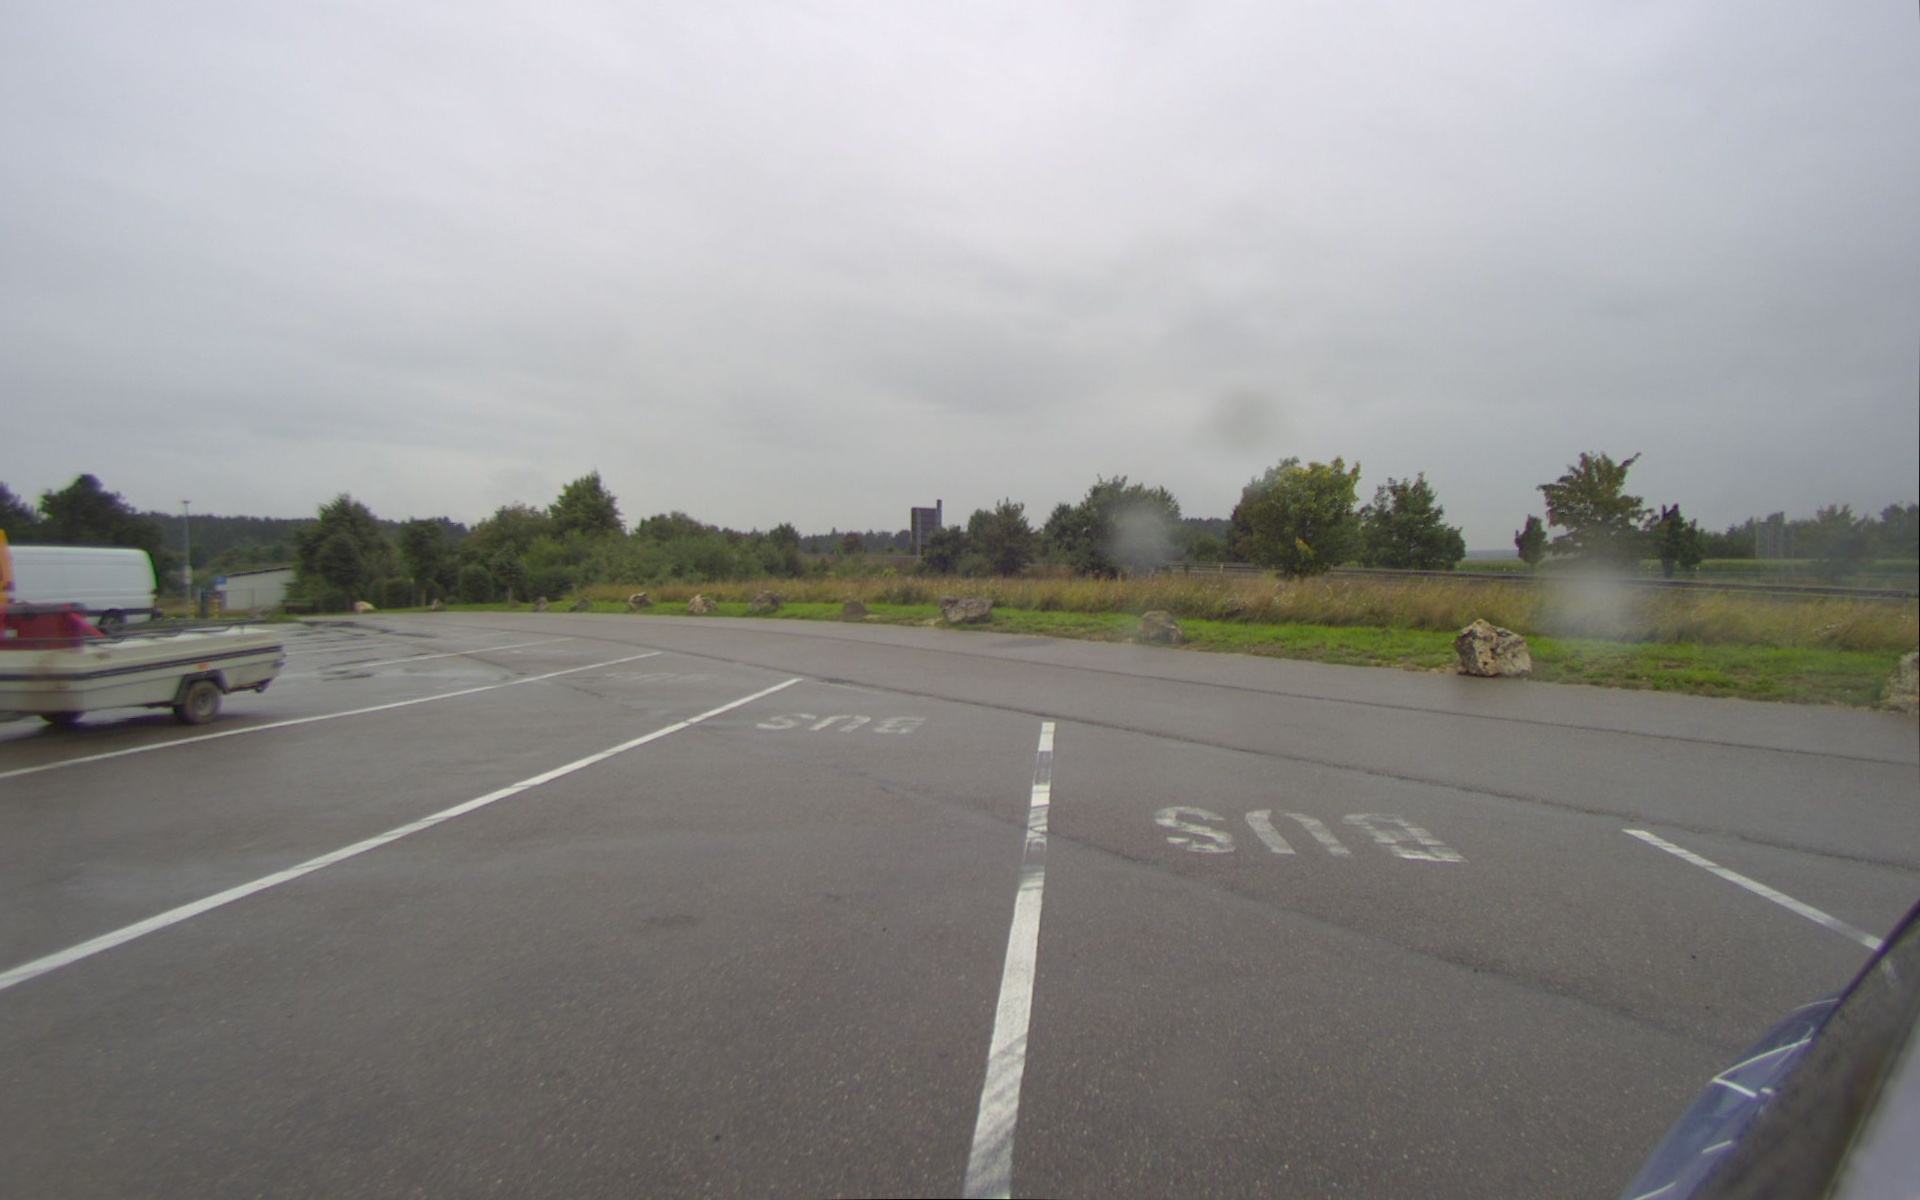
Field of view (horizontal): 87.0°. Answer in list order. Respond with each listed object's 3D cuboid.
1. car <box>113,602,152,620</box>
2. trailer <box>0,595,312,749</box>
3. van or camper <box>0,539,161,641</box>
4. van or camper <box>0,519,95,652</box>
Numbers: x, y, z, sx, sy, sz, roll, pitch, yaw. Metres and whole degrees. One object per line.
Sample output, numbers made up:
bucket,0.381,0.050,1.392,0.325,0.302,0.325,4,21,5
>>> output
car,-51.893,0.674,63.426,1.680,1.013,3.760,-1,2,-42
trailer,-7.511,0.521,8.783,1.563,1.081,3.022,0,1,10
van or camper,-26.686,-0.344,28.630,1.966,2.749,7.056,2,2,7
van or camper,-17.632,-0.207,15.906,2.098,2.274,6.407,0,2,7
